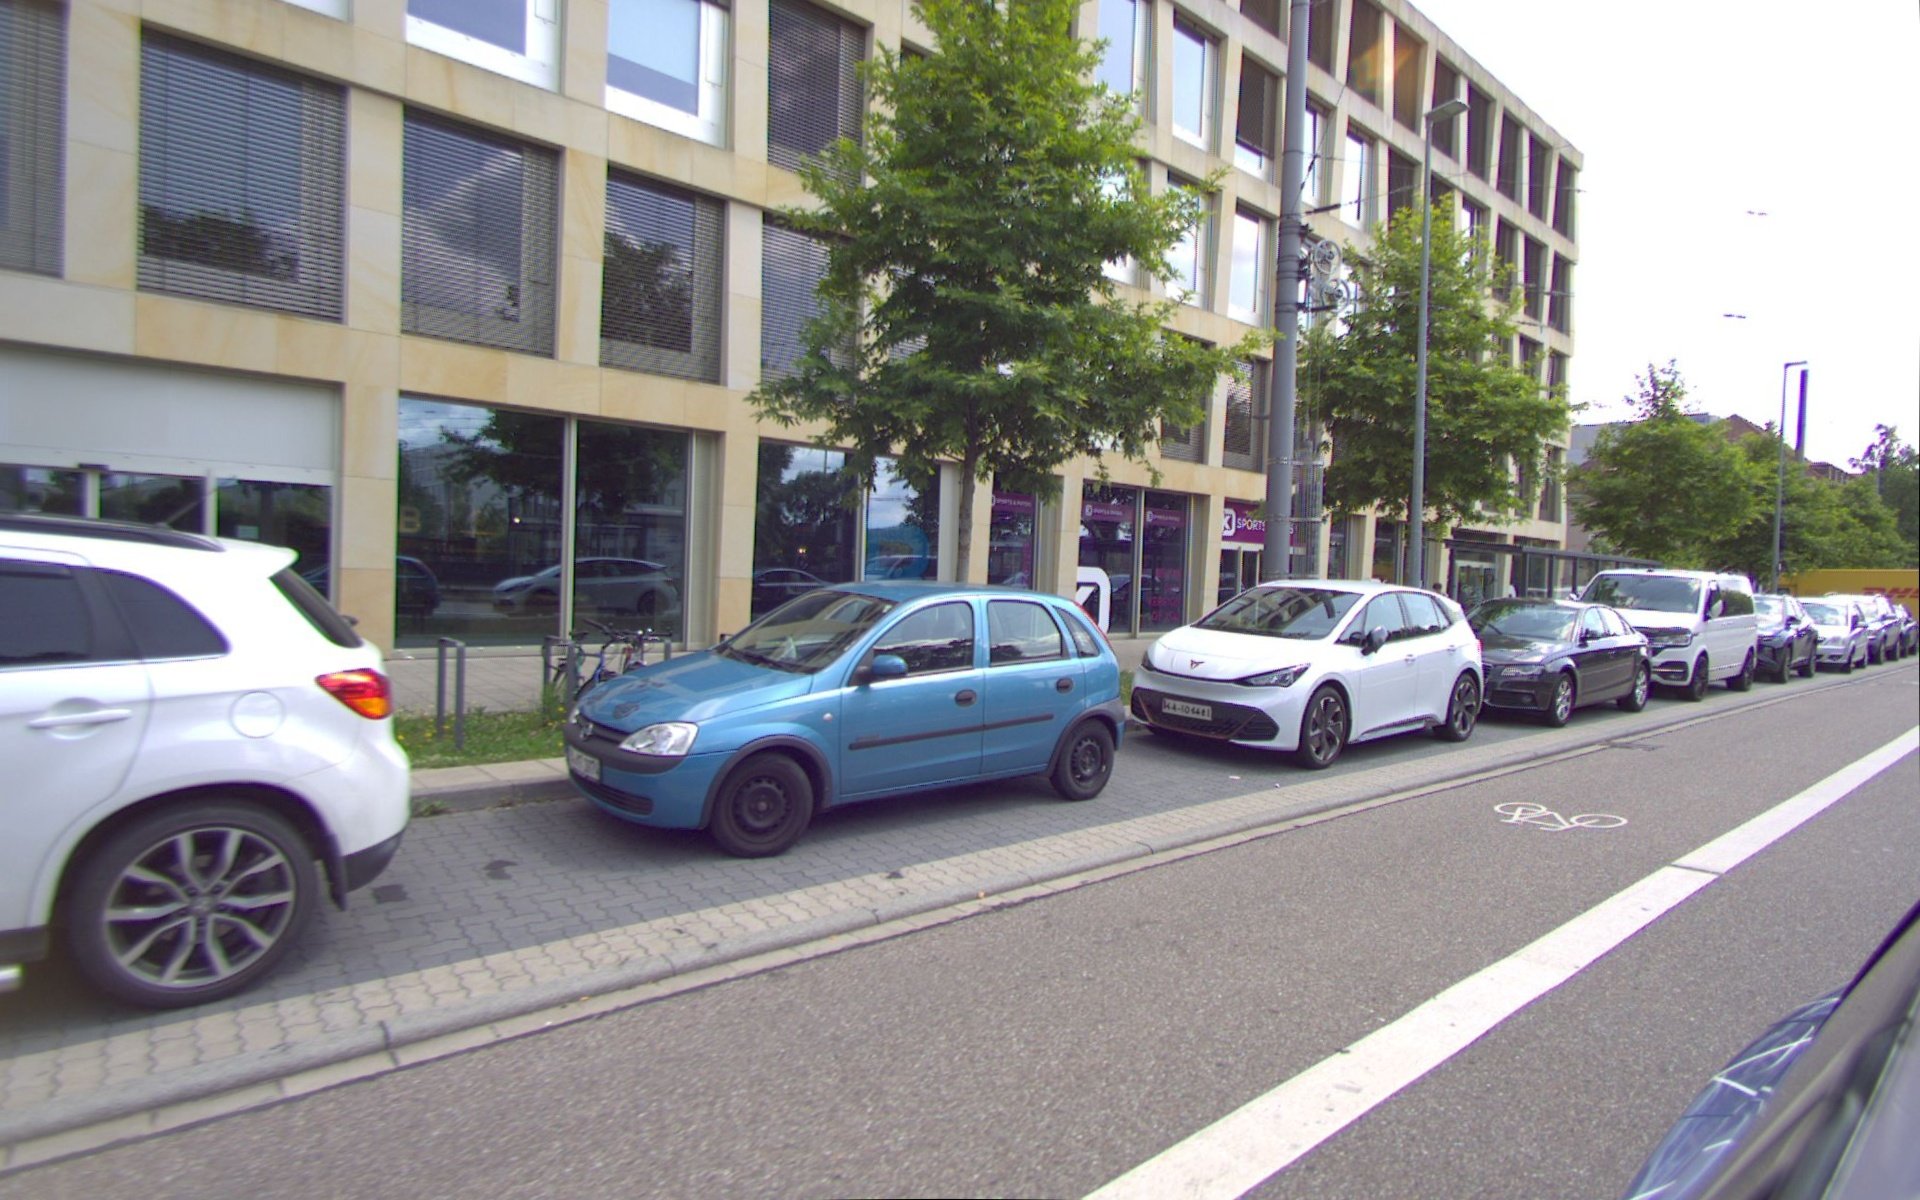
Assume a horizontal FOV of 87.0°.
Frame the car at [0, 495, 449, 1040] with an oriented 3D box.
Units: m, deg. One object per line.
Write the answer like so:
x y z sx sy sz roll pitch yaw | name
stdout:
-4.011 0.438 3.084 4.078 1.625 1.689 1 3 -41 | car

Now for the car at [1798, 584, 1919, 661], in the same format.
23.928 0.556 26.863 4.754 1.789 1.773 1 2 -41 | car

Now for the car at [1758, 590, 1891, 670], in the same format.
19.973 0.642 23.341 3.792 1.640 1.725 1 2 -41 | car

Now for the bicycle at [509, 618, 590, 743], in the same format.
-3.502 0.646 8.591 0.265 0.886 1.387 -2 4 -37 | bicycle

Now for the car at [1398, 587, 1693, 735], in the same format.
7.695 0.668 13.122 4.483 1.505 1.886 1 3 -41 | car

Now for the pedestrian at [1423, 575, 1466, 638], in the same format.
12.369 0.157 25.849 0.889 1.570 0.639 1 1 -41 | pedestrian

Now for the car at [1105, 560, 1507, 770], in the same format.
3.473 0.493 9.800 4.085 1.548 1.797 1 3 -41 | car

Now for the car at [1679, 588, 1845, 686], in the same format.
16.122 0.676 20.268 4.447 1.660 1.725 1 3 -41 | car

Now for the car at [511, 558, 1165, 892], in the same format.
-0.599 0.563 6.550 3.881 1.475 1.689 1 3 -41 | car

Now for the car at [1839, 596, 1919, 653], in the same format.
27.921 0.711 30.399 3.996 1.523 1.695 1 2 -41 | car

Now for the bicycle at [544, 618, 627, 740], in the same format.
-3.263 0.648 8.773 0.265 0.886 1.387 -2 4 -37 | bicycle

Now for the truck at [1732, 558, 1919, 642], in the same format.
33.849 -0.045 38.423 2.412 2.902 6.818 0 2 -42 | truck

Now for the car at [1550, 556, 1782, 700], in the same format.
11.564 0.381 16.445 4.758 1.962 1.886 1 3 -41 | car
